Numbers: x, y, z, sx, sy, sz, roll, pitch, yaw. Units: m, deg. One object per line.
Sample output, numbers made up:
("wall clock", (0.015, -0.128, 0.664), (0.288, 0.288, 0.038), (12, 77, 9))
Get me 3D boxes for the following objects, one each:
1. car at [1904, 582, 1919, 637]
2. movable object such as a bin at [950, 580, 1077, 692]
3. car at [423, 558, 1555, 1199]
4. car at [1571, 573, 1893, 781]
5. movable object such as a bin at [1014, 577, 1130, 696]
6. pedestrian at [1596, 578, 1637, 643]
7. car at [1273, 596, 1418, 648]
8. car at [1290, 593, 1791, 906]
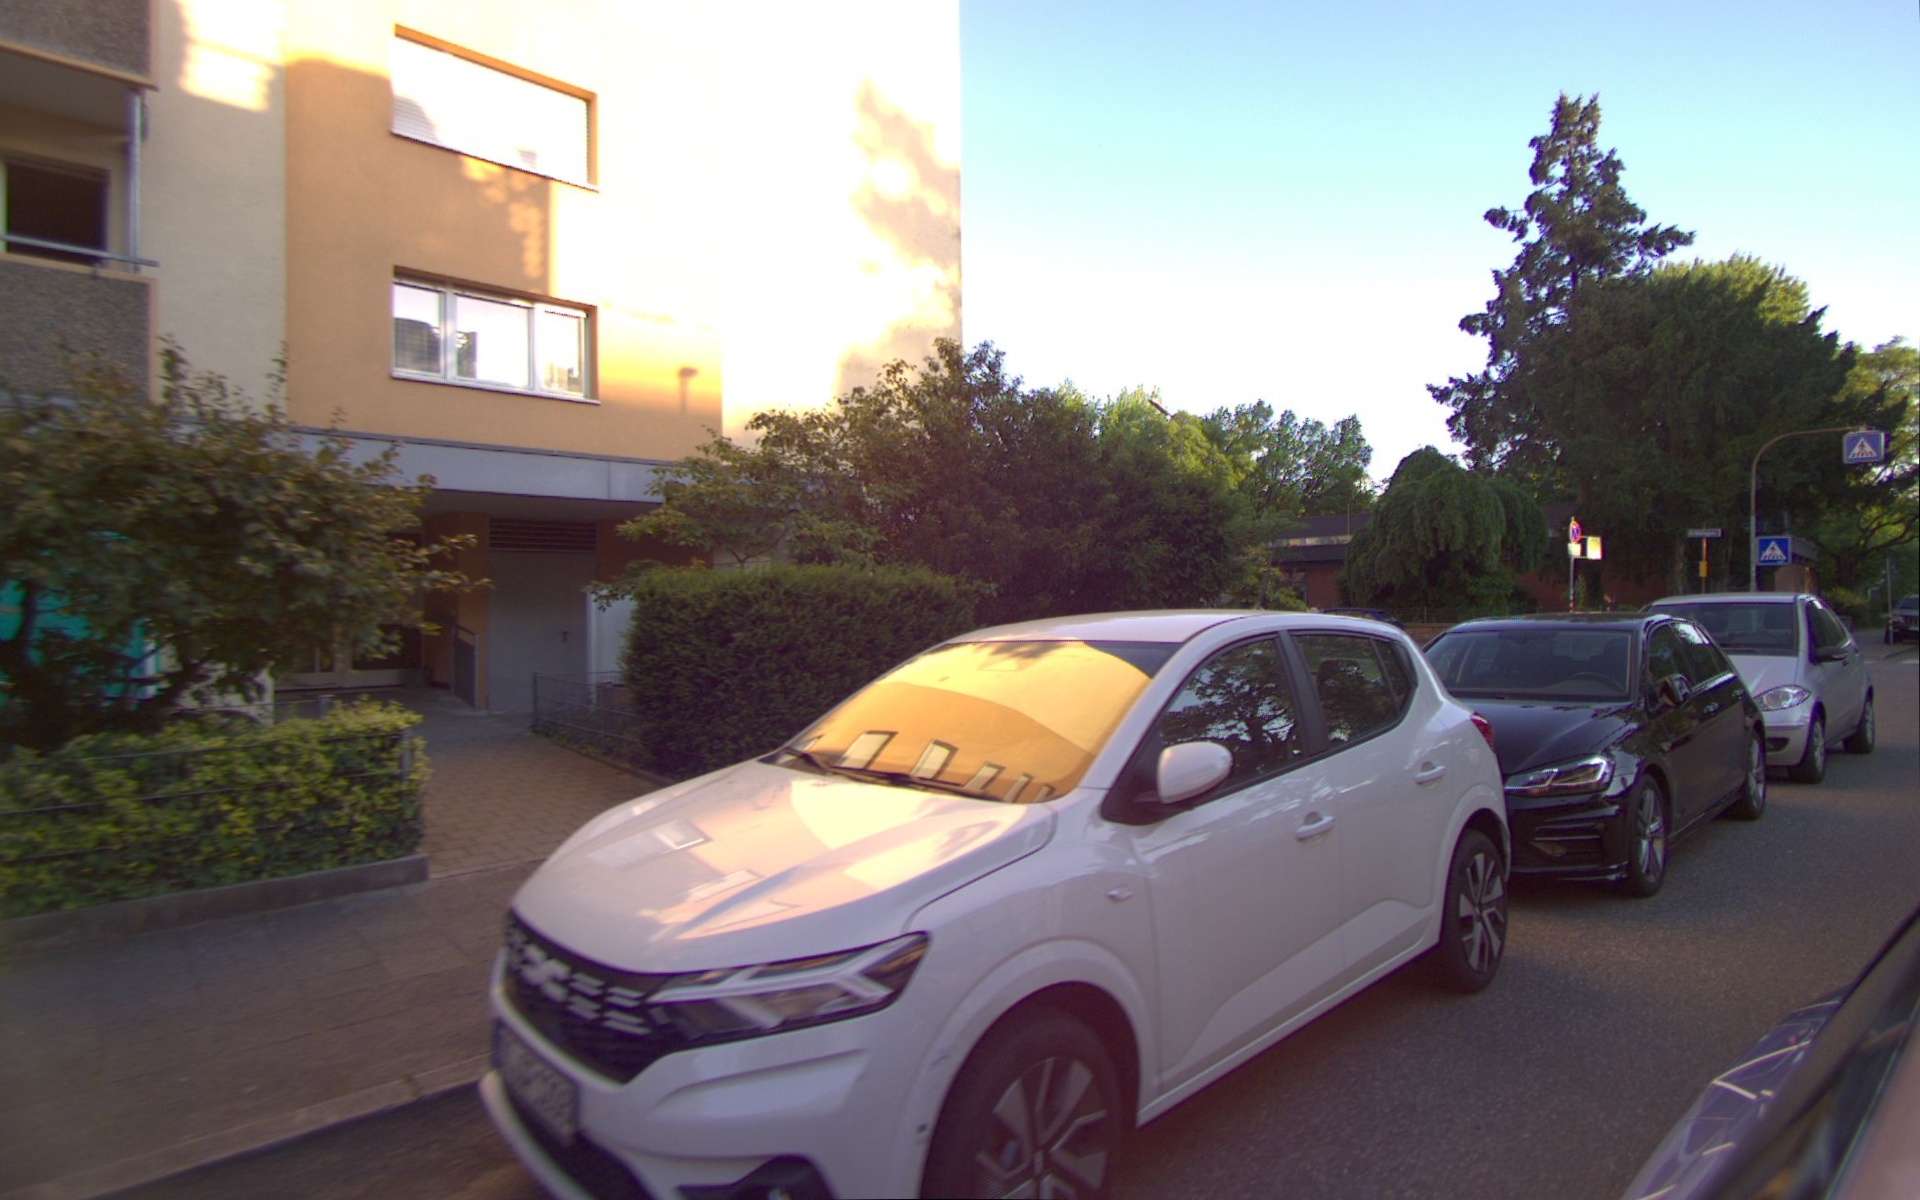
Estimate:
("car", (33.317, 0.339, 34.279), (3.820, 1.775, 1.783), (0, 1, -44))
("movable object such as a bin", (0.730, 0.469, 13.774), (1.183, 1.434, 1.280), (-1, -1, 44))
("car", (0.432, 0.653, 3.590), (3.828, 1.435, 1.812), (0, 0, -42))
("car", (7.541, 0.597, 9.761), (3.818, 1.596, 1.812), (0, -1, -42))
("movable object such as a bin", (1.440, 0.447, 12.946), (0.876, 1.434, 1.280), (-1, -1, 44))
("pedestrian", (18.312, 0.274, 28.239), (0.818, 1.746, 0.853), (4, 3, 29))
("car", (11.625, 0.645, 30.647), (3.773, 1.504, 1.698), (-1, -1, 40))
("car", (3.974, 0.690, 6.633), (3.958, 1.437, 1.719), (0, 0, -42))
